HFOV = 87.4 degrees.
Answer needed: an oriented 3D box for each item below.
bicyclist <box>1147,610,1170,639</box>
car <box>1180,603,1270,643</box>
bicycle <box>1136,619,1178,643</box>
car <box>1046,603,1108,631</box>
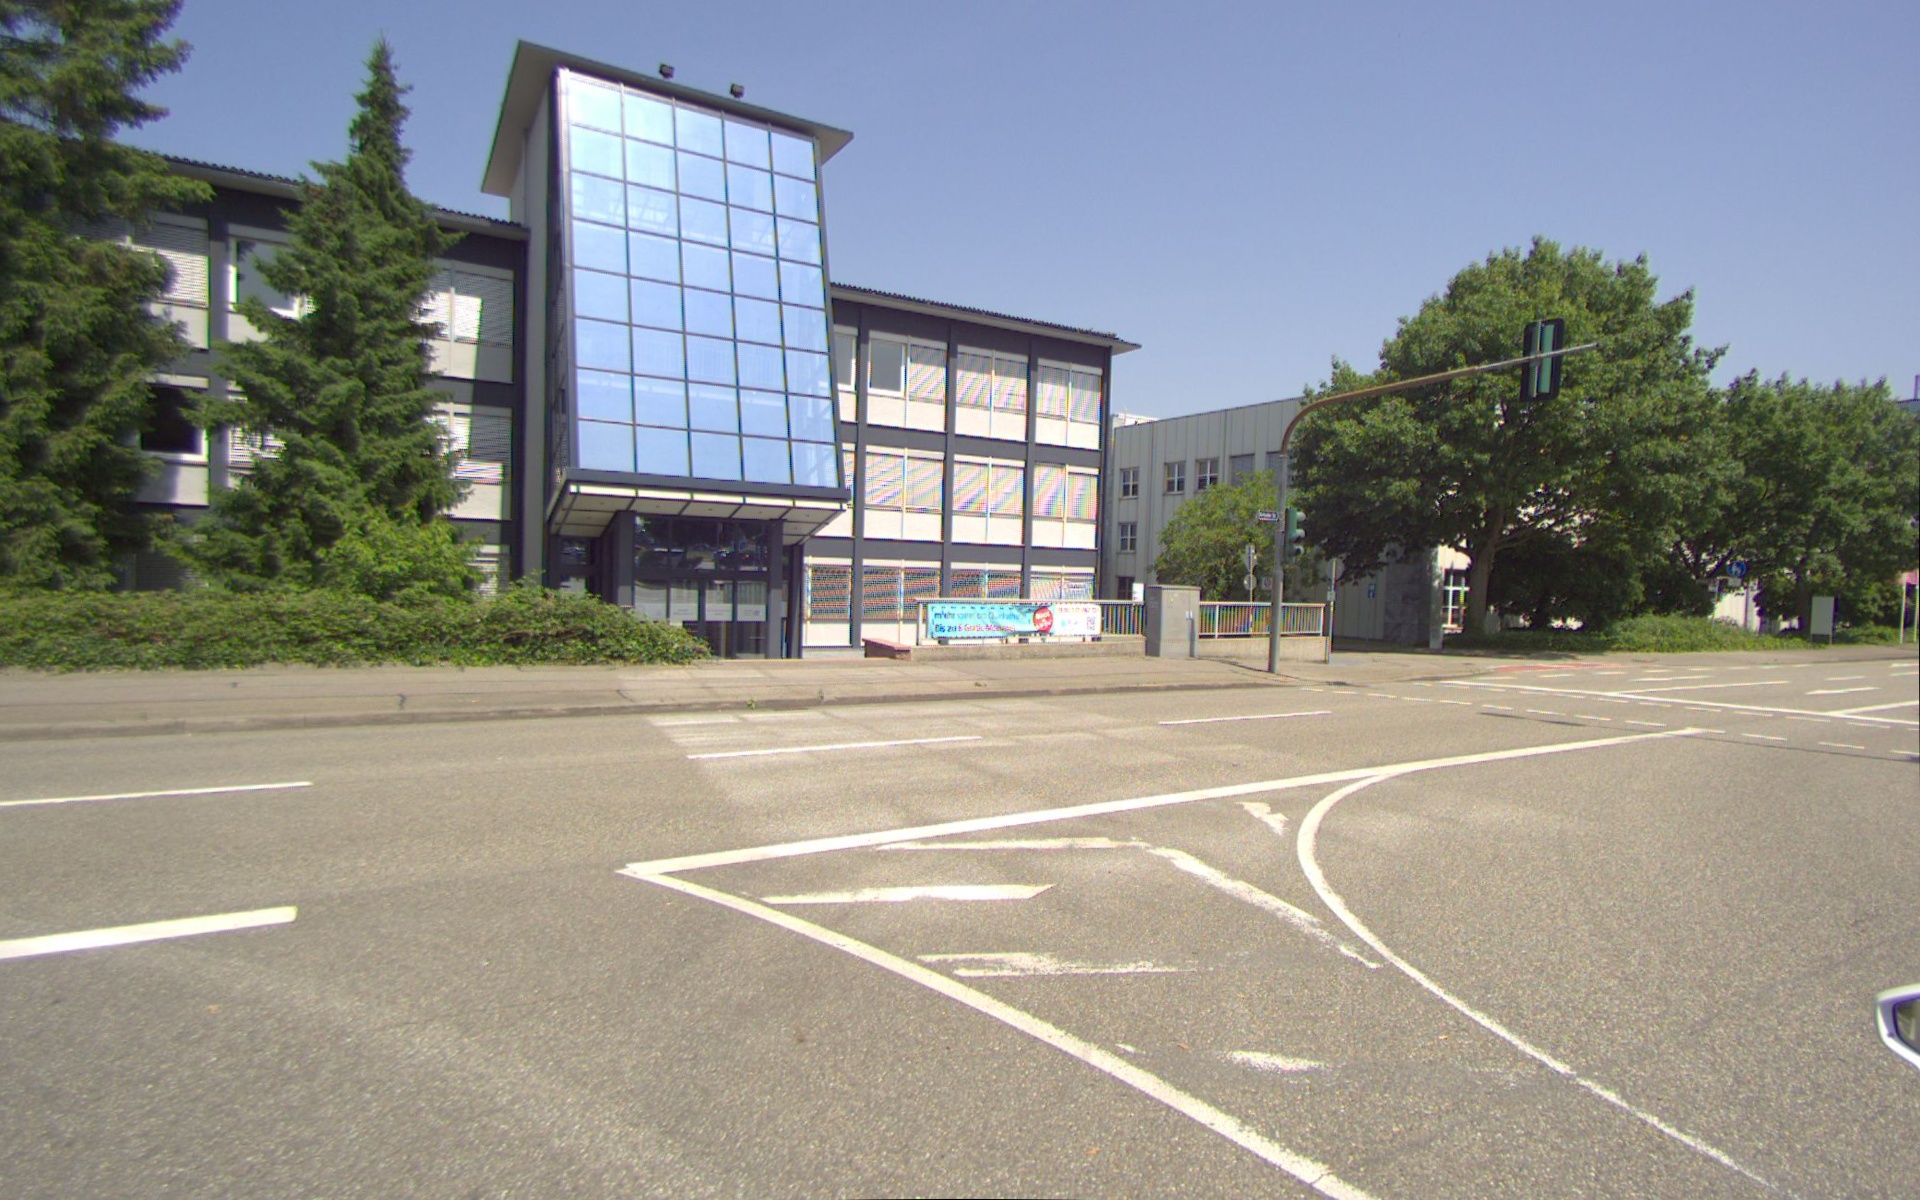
[{"bbox_3d":[9.767,1.209,49.466,0.736,1.428,0.853,1,0,-31],"label":"bicyclist"},{"bbox_3d":[12.819,1.075,48.859,1.898,1.617,3.965,2,2,-32],"label":"car"},{"bbox_3d":[9.700,1.521,49.567,0.774,1.128,2.163,1,0,-31],"label":"bicycle"},{"bbox_3d":[6.861,0.991,59.046,1.697,1.550,3.630,1,0,-32],"label":"car"}]
